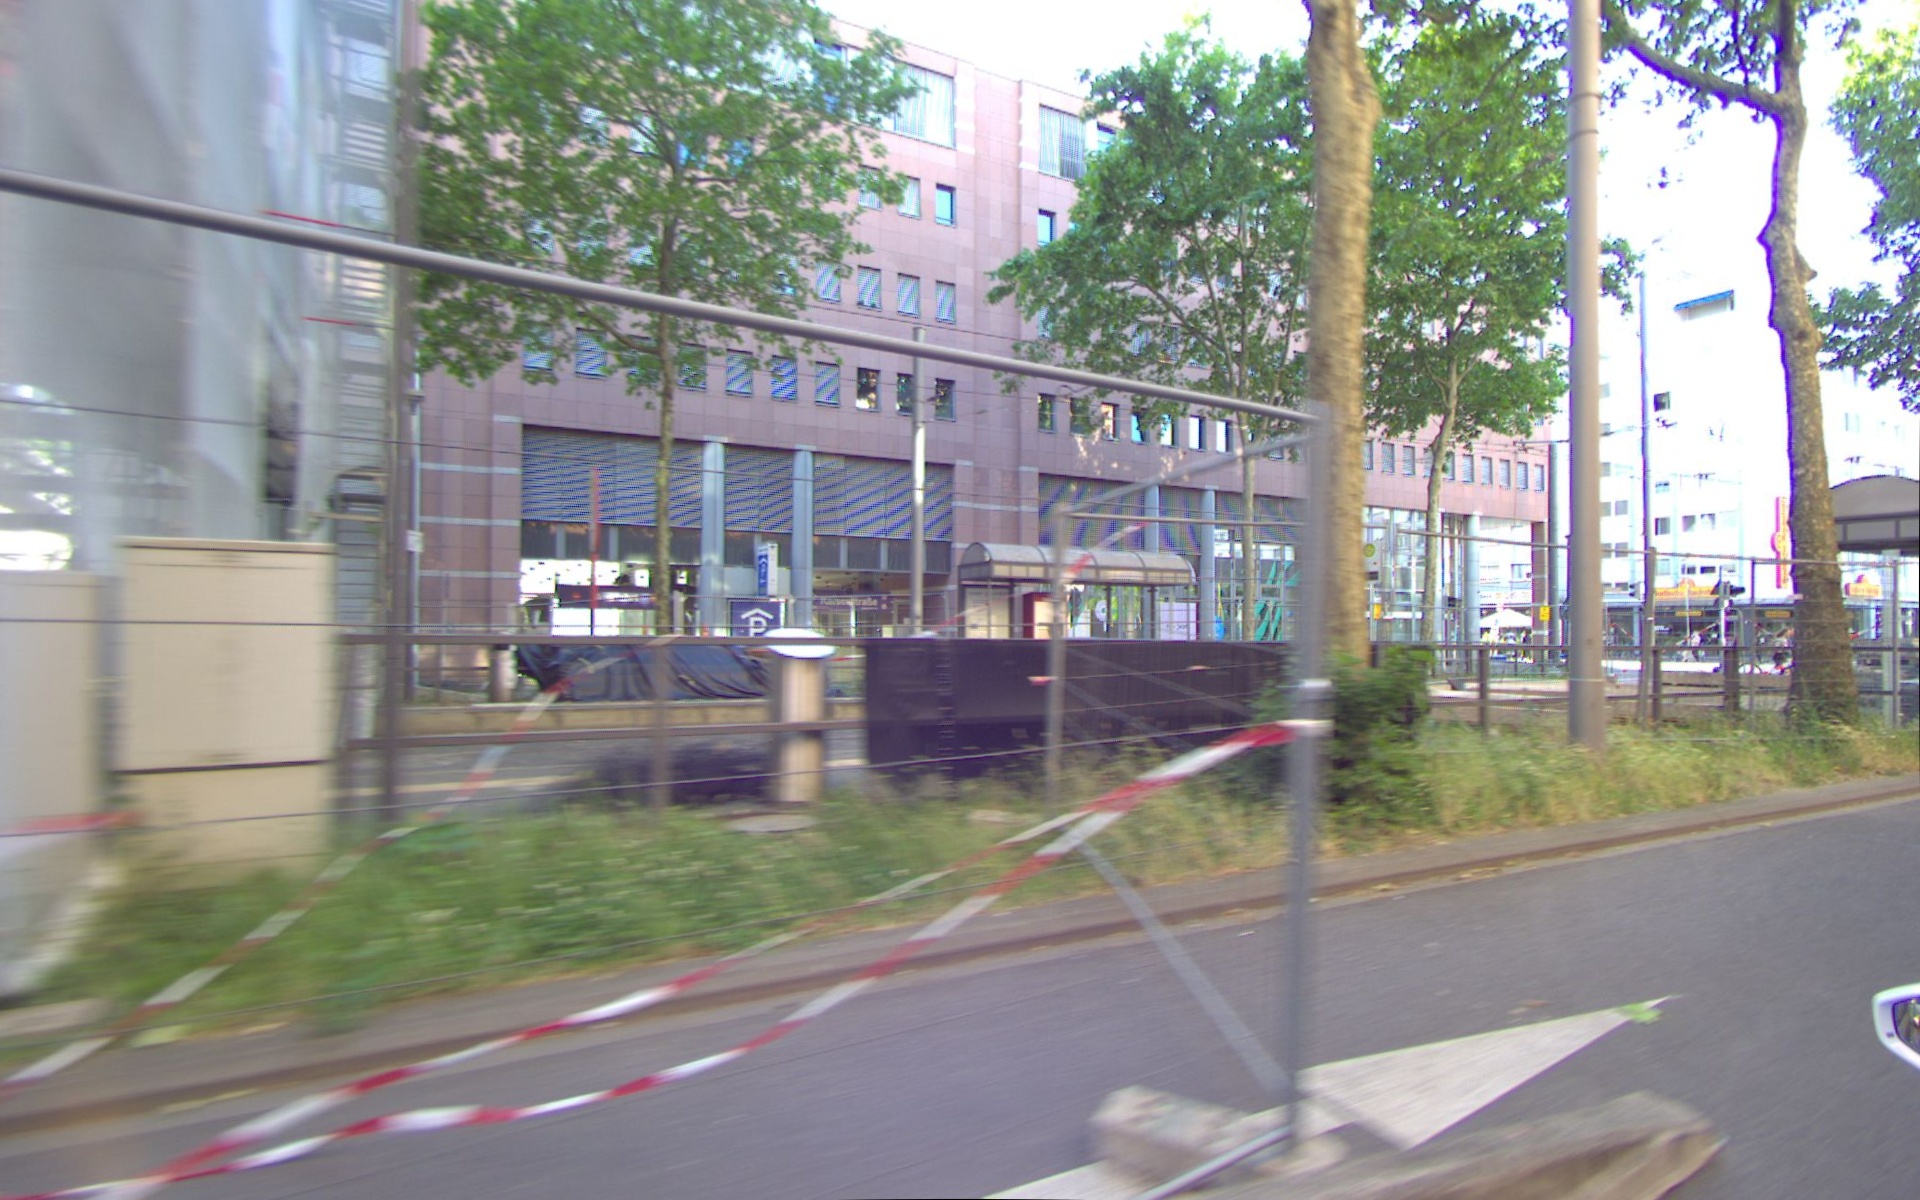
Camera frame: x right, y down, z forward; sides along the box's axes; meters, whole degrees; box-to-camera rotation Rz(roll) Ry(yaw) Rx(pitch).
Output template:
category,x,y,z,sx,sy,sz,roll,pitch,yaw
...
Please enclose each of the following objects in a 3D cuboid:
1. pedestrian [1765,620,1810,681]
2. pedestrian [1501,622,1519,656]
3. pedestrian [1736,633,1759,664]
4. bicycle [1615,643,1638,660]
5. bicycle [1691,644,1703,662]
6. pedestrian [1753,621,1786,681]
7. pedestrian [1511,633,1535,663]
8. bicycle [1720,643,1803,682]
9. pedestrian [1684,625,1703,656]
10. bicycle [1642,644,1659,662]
category,x,y,z,sx,sy,sz,roll,pitch,yaw
pedestrian,24.276,1.481,29.484,0.839,1.757,0.773,1,-2,-32
pedestrian,26.775,1.887,48.909,0.711,1.640,0.640,0,-1,32
pedestrian,46.116,2.840,58.844,0.766,1.747,0.802,1,-2,-28
bicycle,42.028,3.246,63.313,1.988,1.067,0.590,1,-2,-38
bicycle,44.623,3.191,60.823,0.587,1.067,1.999,-1,-2,36
pedestrian,23.474,1.480,29.134,0.524,1.702,0.564,1,-2,-27
pedestrian,31.621,2.691,56.386,0.866,1.687,0.908,0,-2,7
bicycle,23.030,1.780,28.892,0.475,1.093,1.823,1,-2,-27
pedestrian,43.095,2.361,58.982,0.775,1.815,0.626,1,-1,-27
bicycle,43.023,3.266,62.588,0.588,1.067,1.995,-1,-2,43
